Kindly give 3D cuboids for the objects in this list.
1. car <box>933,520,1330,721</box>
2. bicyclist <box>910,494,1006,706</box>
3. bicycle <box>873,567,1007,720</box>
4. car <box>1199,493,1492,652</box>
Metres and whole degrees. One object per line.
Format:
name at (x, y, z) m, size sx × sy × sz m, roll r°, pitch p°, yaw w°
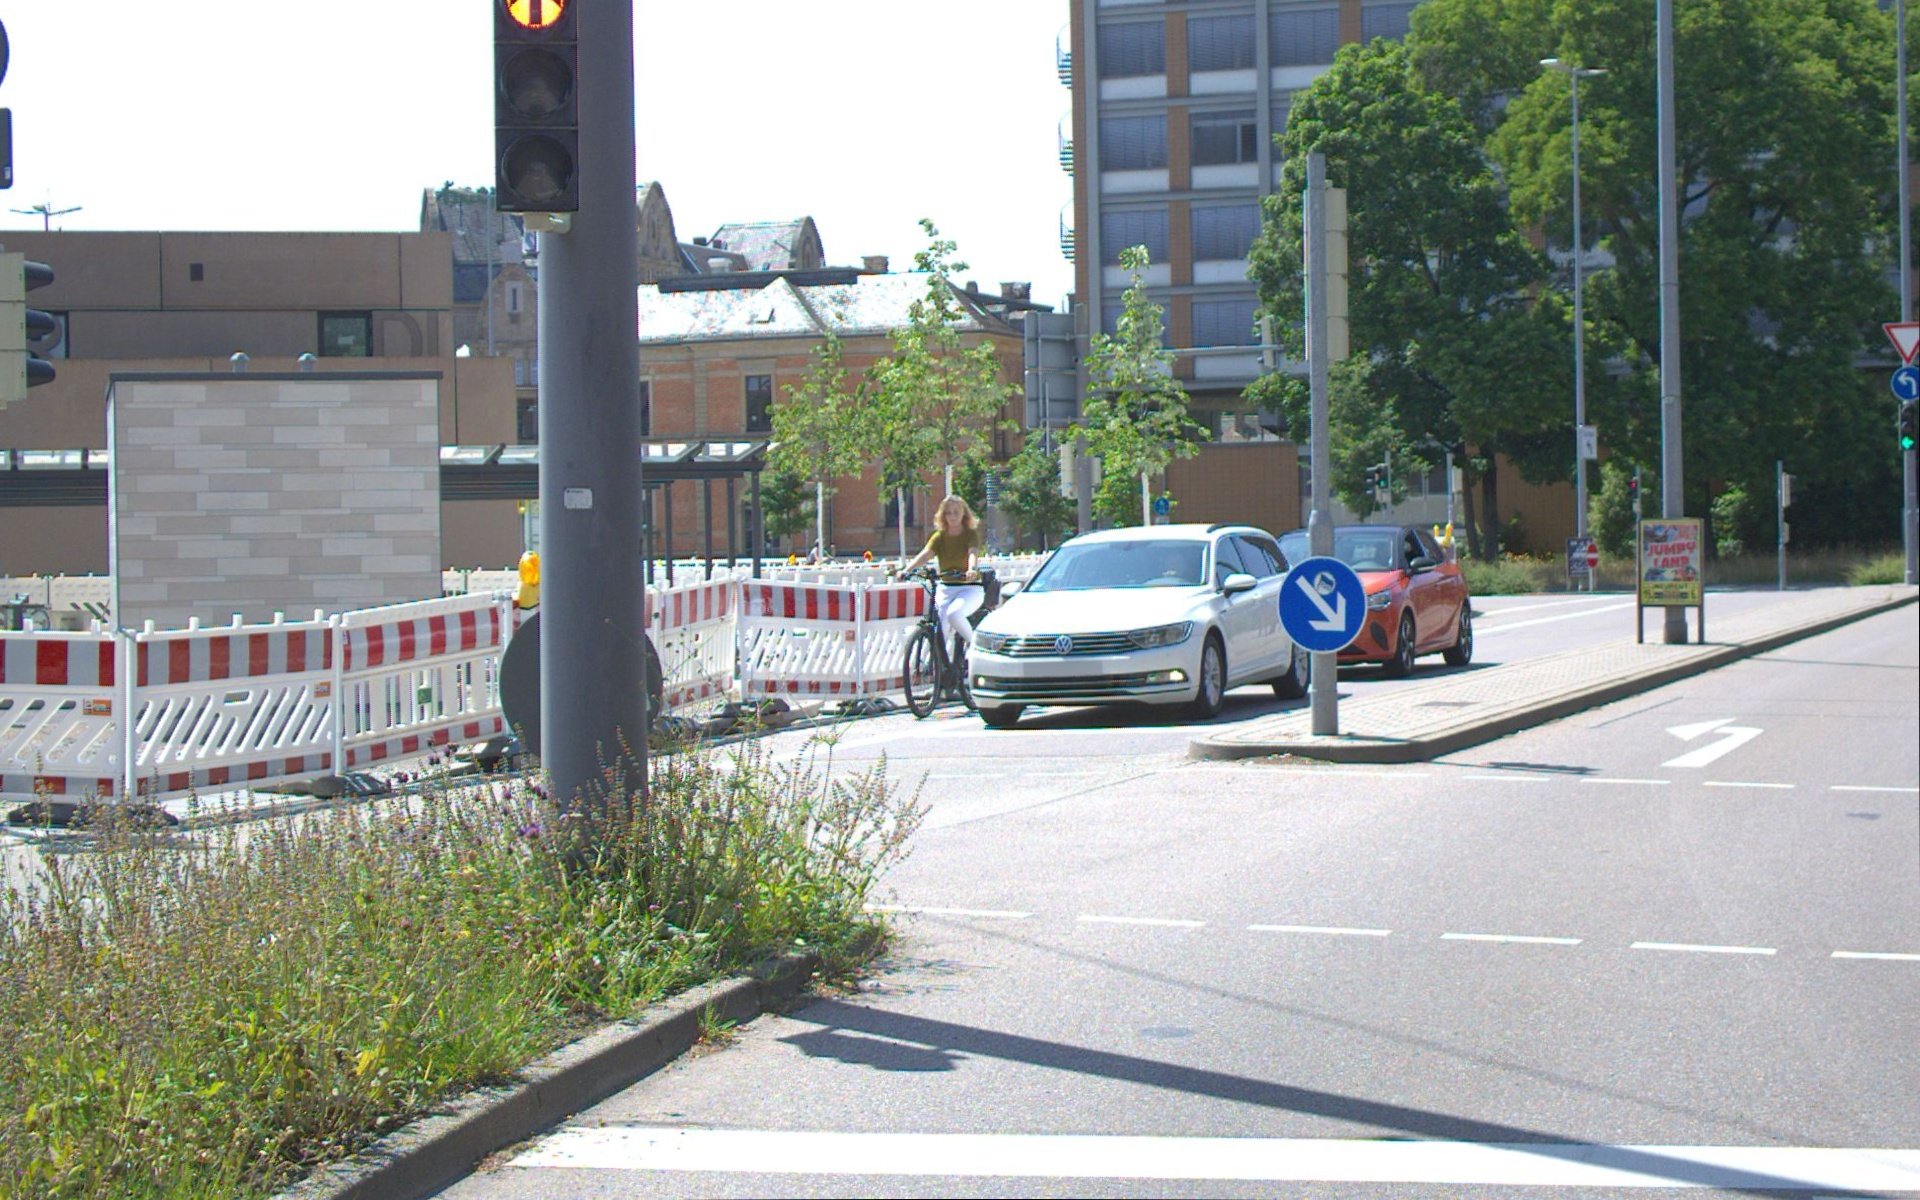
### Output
car at (1.476, 0.125, 27.282) m, size 1.995 × 1.433 × 4.701 m, roll -1°, pitch 0°, yaw 18°
bicyclist at (-0.017, -0.006, 28.174) m, size 0.568 × 1.713 × 0.506 m, roll -1°, pitch 1°, yaw 27°
bicycle at (-0.147, 0.338, 28.015) m, size 0.398 × 1.170 × 1.768 m, roll -1°, pitch 1°, yaw 23°
car at (3.806, -0.275, 33.340) m, size 1.733 × 1.420 × 4.119 m, roll -1°, pitch 0°, yaw 22°
